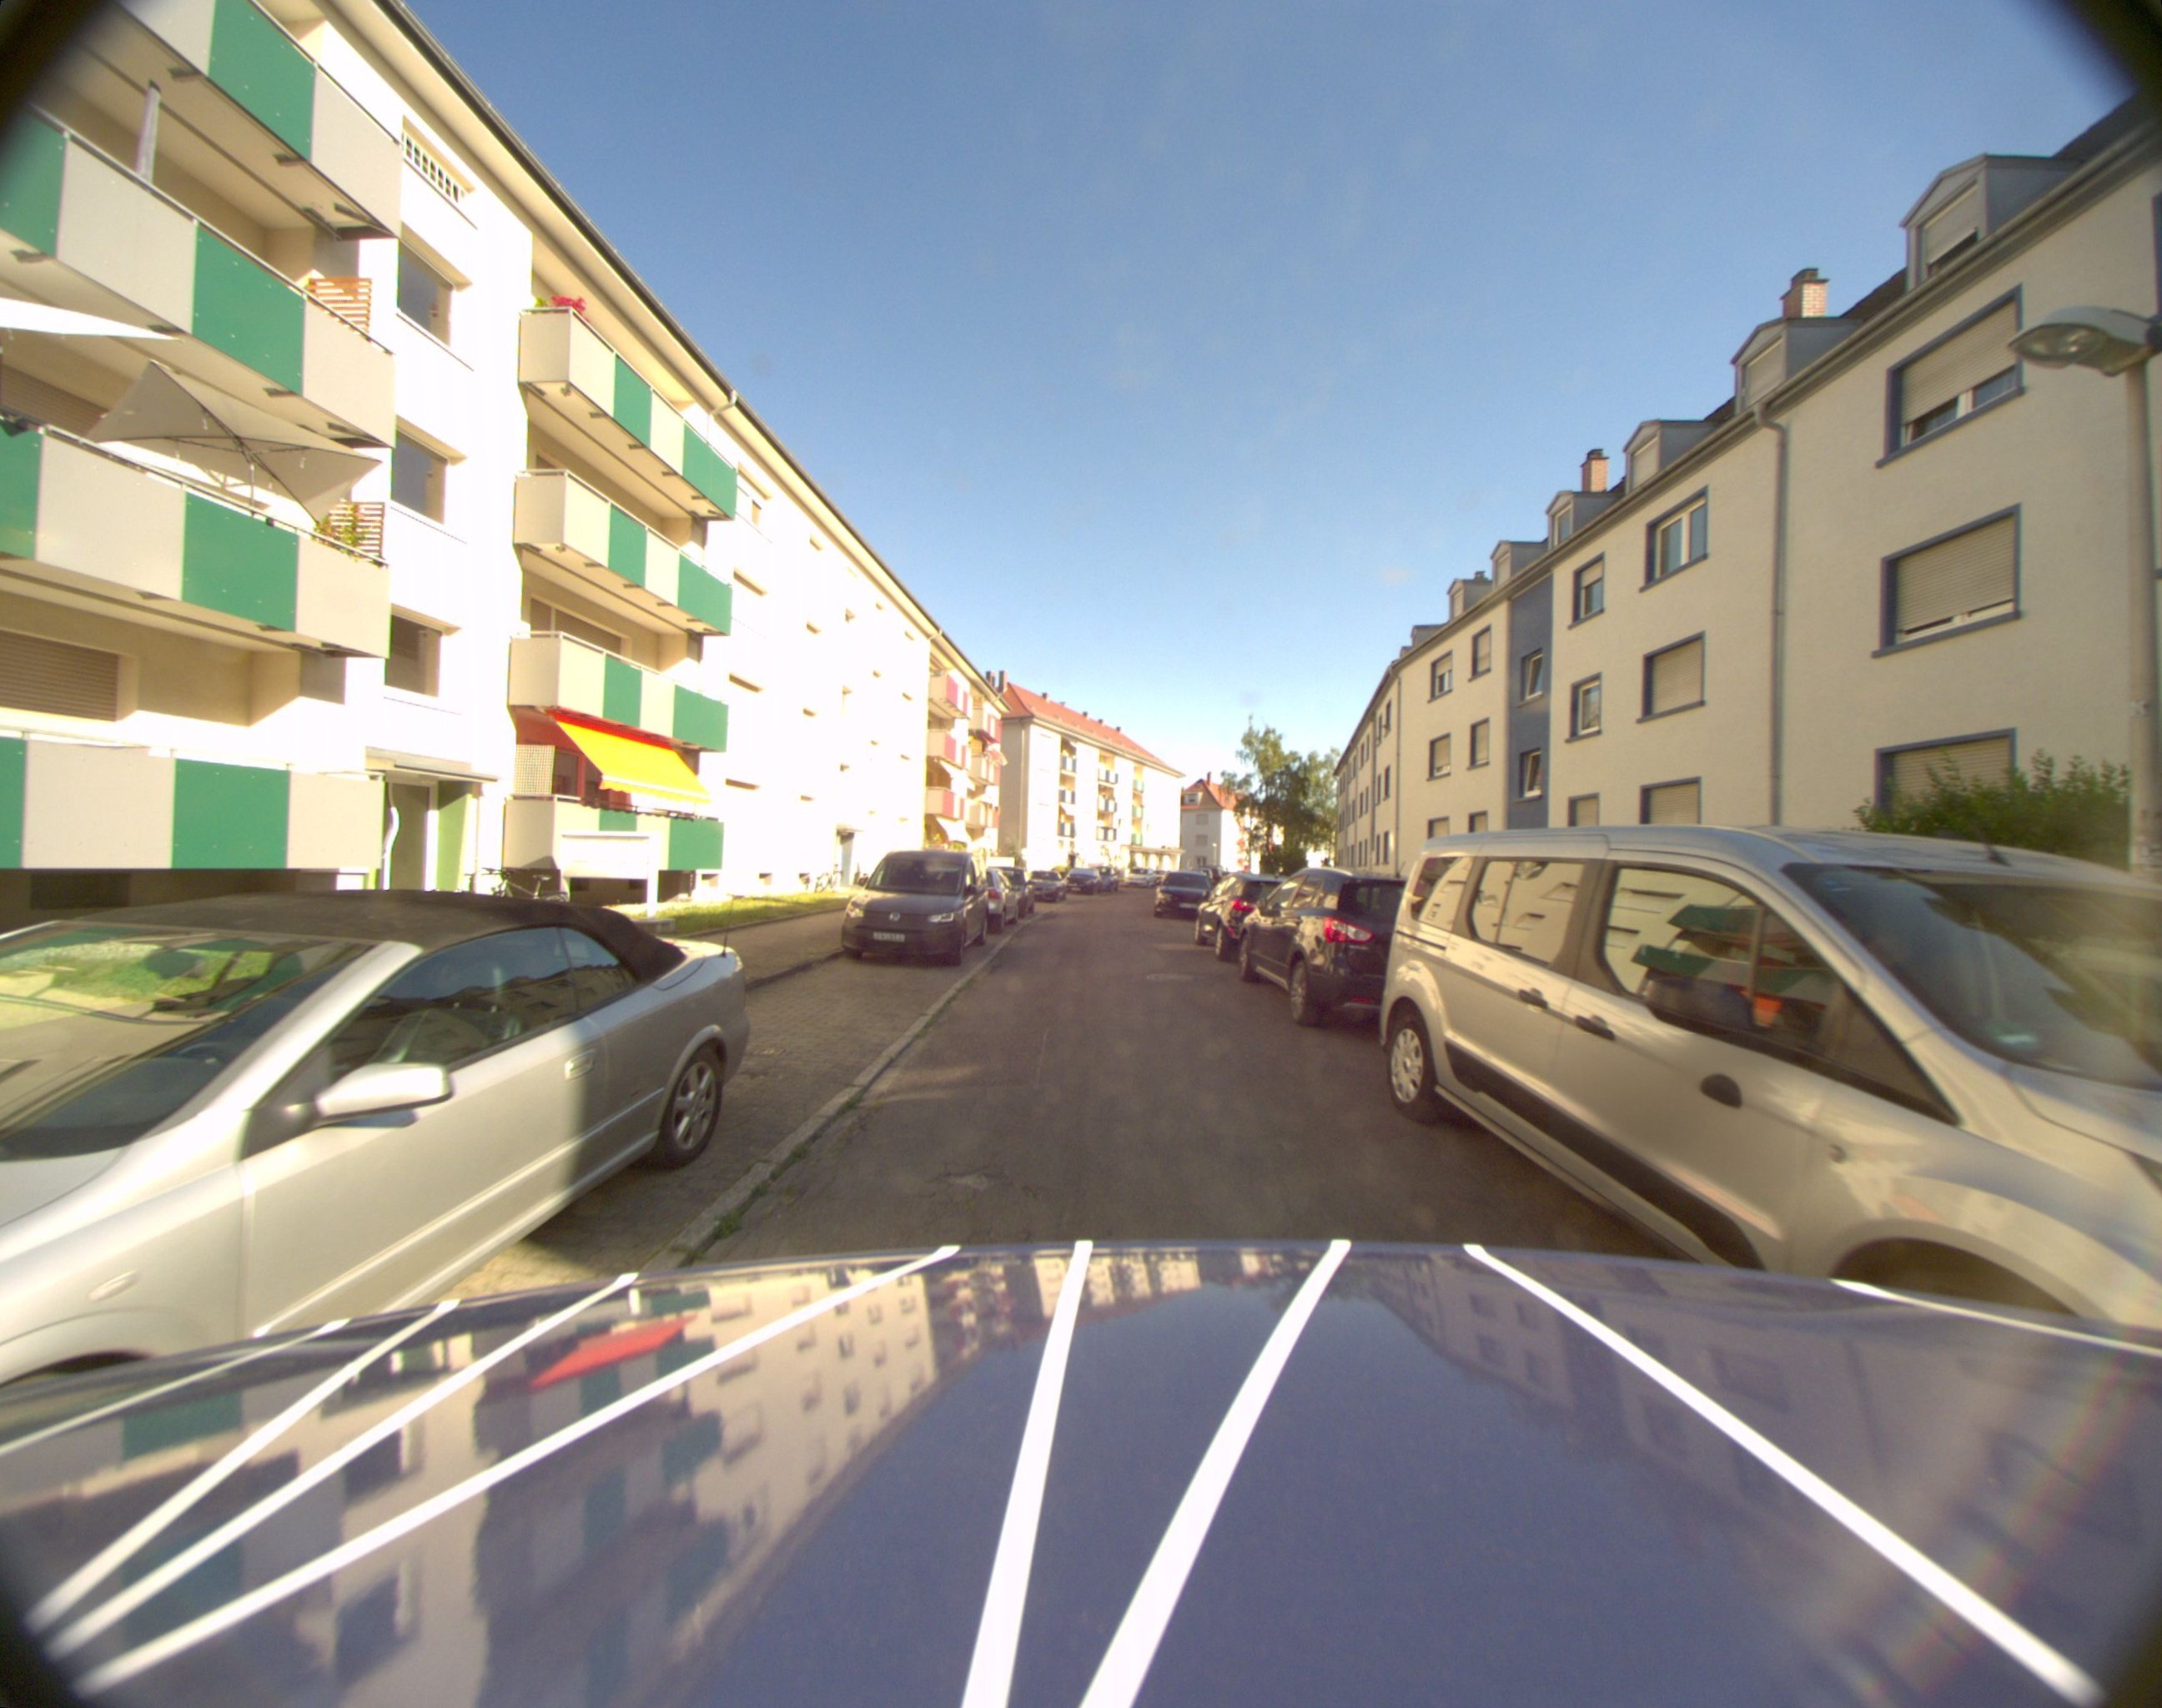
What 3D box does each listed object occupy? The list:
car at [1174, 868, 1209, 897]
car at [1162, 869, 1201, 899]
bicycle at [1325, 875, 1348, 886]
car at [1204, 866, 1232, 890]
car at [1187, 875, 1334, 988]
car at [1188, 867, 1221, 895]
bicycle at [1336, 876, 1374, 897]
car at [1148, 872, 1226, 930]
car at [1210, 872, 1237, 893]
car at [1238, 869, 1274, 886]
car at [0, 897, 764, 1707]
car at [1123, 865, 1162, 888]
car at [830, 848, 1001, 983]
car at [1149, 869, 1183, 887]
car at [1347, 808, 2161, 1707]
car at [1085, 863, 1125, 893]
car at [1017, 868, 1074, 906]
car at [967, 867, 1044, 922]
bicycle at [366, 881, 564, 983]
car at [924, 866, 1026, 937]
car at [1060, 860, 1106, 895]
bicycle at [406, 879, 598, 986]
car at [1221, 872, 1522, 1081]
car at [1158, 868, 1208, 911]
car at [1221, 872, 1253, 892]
[{"bbox_3d":[6.733,1.693,46.055,1.639,1.538,3.653,4,0,15],"label":"car"},{"bbox_3d":[5.359,1.552,40.158,1.717,1.403,3.987,4,0,11],"label":"car"},{"bbox_3d":[17.713,1.845,52.713,1.457,0.759,0.310,-2,0,15],"label":"bicycle"},{"bbox_3d":[10.357,1.799,57.307,1.639,1.631,3.653,4,0,15],"label":"car"},{"bbox_3d":[2.964,1.222,13.324,1.648,1.510,3.703,5,-1,1],"label":"car"},{"bbox_3d":[8.373,1.814,51.359,1.639,1.692,3.653,4,0,16],"label":"car"},{"bbox_3d":[13.808,1.647,38.277,1.733,0.983,0.463,-2,0,15],"label":"bicycle"},{"bbox_3d":[3.219,1.392,23.813,1.904,1.450,4.397,4,0,3],"label":"car"},{"bbox_3d":[11.731,2.340,62.432,1.639,1.566,3.654,4,0,18],"label":"car"},{"bbox_3d":[16.476,2.218,71.467,1.571,1.417,3.989,4,0,41],"label":"car"},{"bbox_3d":[-2.812,0.984,2.448,1.746,1.398,4.314,3,-1,-1],"label":"car"},{"bbox_3d":[4.913,1.791,60.025,1.754,1.625,4.414,3,-1,21],"label":"car"},{"bbox_3d":[-2.621,0.904,13.308,1.763,1.828,4.920,3,-1,1],"label":"car"},{"bbox_3d":[7.402,2.089,65.933,1.754,1.420,4.475,3,-1,21],"label":"car"},{"bbox_3d":[2.791,0.909,2.877,1.804,1.819,4.950,4,-1,1],"label":"car"},{"bbox_3d":[1.558,1.519,47.744,1.755,1.724,4.005,-3,-2,13],"label":"car"},{"bbox_3d":[-1.422,1.360,32.188,1.676,1.411,3.863,3,-1,8],"label":"car"},{"bbox_3d":[-2.212,1.150,23.168,1.667,1.440,3.861,3,-1,3],"label":"car"},{"bbox_3d":[-7.399,0.881,9.284,0.506,1.038,2.076,0,0,9],"label":"bicycle"},{"bbox_3d":[-2.417,1.051,18.291,1.643,1.450,3.861,3,-1,3],"label":"car"},{"bbox_3d":[0.162,1.269,41.767,1.580,1.752,4.243,3,-1,12],"label":"car"},{"bbox_3d":[-6.855,0.871,9.159,0.506,1.086,2.076,0,0,9],"label":"bicycle"},{"bbox_3d":[2.860,1.089,8.553,1.677,1.581,4.165,5,-1,0],"label":"car"},{"bbox_3d":[4.024,1.365,30.466,1.745,1.507,3.985,4,0,6],"label":"car"},{"bbox_3d":[13.813,2.488,67.157,1.638,1.566,3.656,4,0,29],"label":"car"}]
